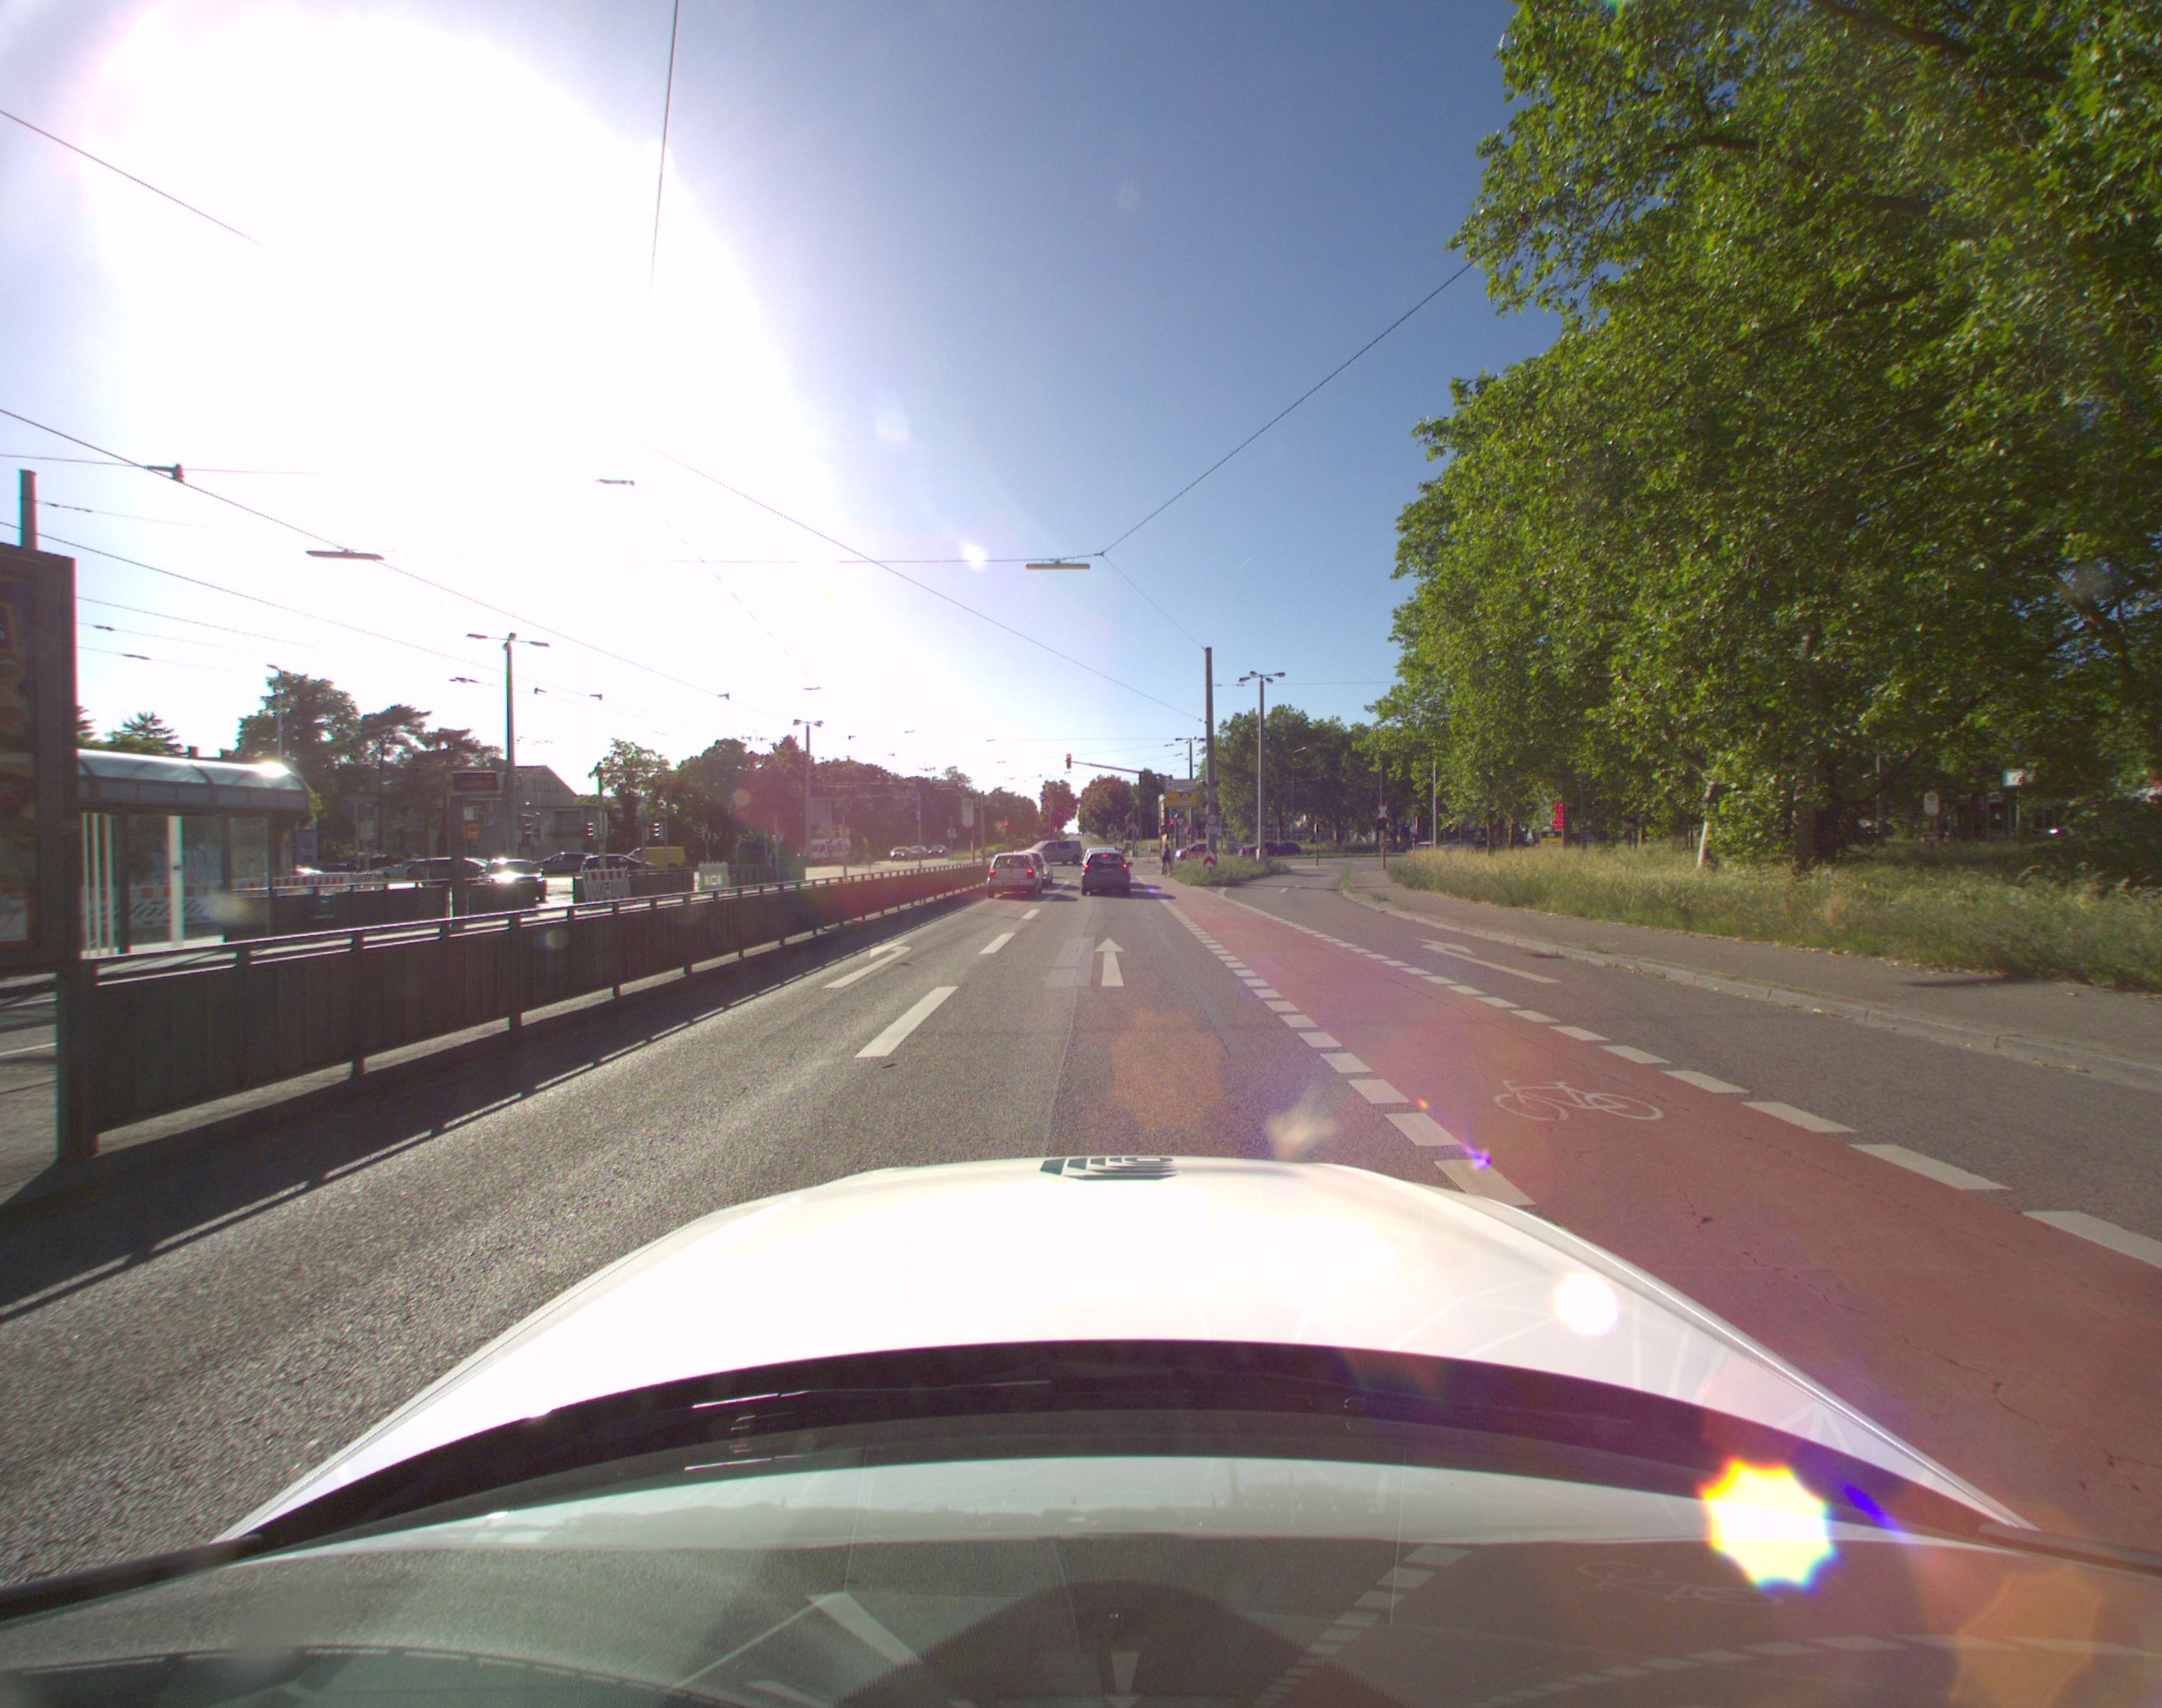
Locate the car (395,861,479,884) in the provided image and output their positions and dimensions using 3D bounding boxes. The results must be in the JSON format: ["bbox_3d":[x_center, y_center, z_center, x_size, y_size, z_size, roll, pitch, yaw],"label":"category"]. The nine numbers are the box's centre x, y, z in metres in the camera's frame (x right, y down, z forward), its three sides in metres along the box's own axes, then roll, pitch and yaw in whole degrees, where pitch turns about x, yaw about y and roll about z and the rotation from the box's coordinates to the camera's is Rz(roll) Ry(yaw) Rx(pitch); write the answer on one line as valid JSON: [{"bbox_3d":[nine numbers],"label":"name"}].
[{"bbox_3d":[-42.872,1.231,54.333,4.001,1.473,1.740,0,0,-21],"label":"car"}]

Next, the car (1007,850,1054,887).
[{"bbox_3d":[-2.048,0.555,34.154,1.613,1.457,4.086,0,0,1],"label":"car"}]

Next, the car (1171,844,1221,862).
[{"bbox_3d":[9.966,-0.107,70.553,4.012,1.402,1.601,-1,1,-17],"label":"car"}]

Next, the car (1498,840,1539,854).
[{"bbox_3d":[51.710,-0.847,96.214,4.526,1.574,1.681,-1,1,-21],"label":"car"}]

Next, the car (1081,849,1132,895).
[{"bbox_3d":[0.834,0.587,28.639,1.663,1.461,3.585,-1,0,0],"label":"car"}]

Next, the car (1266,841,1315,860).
[{"bbox_3d":[21.547,-0.386,83.759,4.705,1.879,1.986,0,0,-21],"label":"car"}]

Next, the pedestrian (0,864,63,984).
[{"bbox_3d":[-13.761,0.876,10.063,1.057,1.453,1.007,-2,0,1],"label":"pedestrian"}]

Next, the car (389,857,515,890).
[{"bbox_3d":[-32.515,0.960,42.293,4.844,1.497,1.771,-2,1,-25],"label":"car"}]

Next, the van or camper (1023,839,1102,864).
[{"bbox_3d":[-1.452,-0.204,64.309,6.006,1.828,1.981,-1,0,-30],"label":"van or camper"}]

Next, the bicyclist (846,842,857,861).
[{"bbox_3d":[-21.198,-0.235,75.174,1.009,1.647,0.813,-1,0,-16],"label":"bicyclist"}]

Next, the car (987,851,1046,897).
[{"bbox_3d":[-2.110,0.627,27.498,1.613,1.417,3.352,-1,0,1],"label":"car"}]

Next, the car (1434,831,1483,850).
[{"bbox_3d":[40.801,-1.480,87.952,4.906,2.013,1.986,-1,1,-21],"label":"car"}]

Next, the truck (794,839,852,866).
[{"bbox_3d":[-25.194,-0.179,79.944,1.978,2.565,6.852,-1,1,16],"label":"truck"}]

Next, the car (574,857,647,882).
[{"bbox_3d":[-28.899,0.945,50.122,3.678,1.378,1.517,-1,0,-22],"label":"car"}]

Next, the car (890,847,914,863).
[{"bbox_3d":[-18.007,0.107,81.962,1.829,1.548,3.993,-1,0,-5],"label":"car"}]

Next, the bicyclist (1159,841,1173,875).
[{"bbox_3d":[4.430,0.209,42.353,0.663,1.716,0.948,0,0,1],"label":"bicyclist"}]

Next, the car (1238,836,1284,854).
[{"bbox_3d":[16.961,-0.840,76.740,4.002,1.531,1.594,-2,1,-21],"label":"car"}]

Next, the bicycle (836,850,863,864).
[{"bbox_3d":[-21.356,0.292,75.137,2.401,1.262,0.813,-1,0,-17],"label":"bicycle"}]

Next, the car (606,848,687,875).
[{"bbox_3d":[-31.931,0.551,60.062,5.181,1.879,1.983,0,0,-26],"label":"car"}]

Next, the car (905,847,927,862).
[{"bbox_3d":[-17.976,0.066,89.025,1.829,1.548,4.277,-1,0,-5],"label":"car"}]

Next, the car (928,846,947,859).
[{"bbox_3d":[-17.649,-0.200,100.341,1.991,1.604,4.746,0,1,-6],"label":"car"}]

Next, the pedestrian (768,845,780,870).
[{"bbox_3d":[-25.598,0.270,67.848,0.748,2.013,0.789,-1,0,-10],"label":"pedestrian"}]

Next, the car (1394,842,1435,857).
[{"bbox_3d":[36.865,-0.494,89.933,3.999,1.578,1.868,0,0,-19],"label":"car"}]

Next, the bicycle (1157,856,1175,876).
[{"bbox_3d":[4.429,0.615,42.433,0.719,0.989,2.876,0,0,1],"label":"bicycle"}]

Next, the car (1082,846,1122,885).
[{"bbox_3d":[0.906,0.454,35.279,1.605,1.562,4.289,-1,0,2],"label":"car"}]
